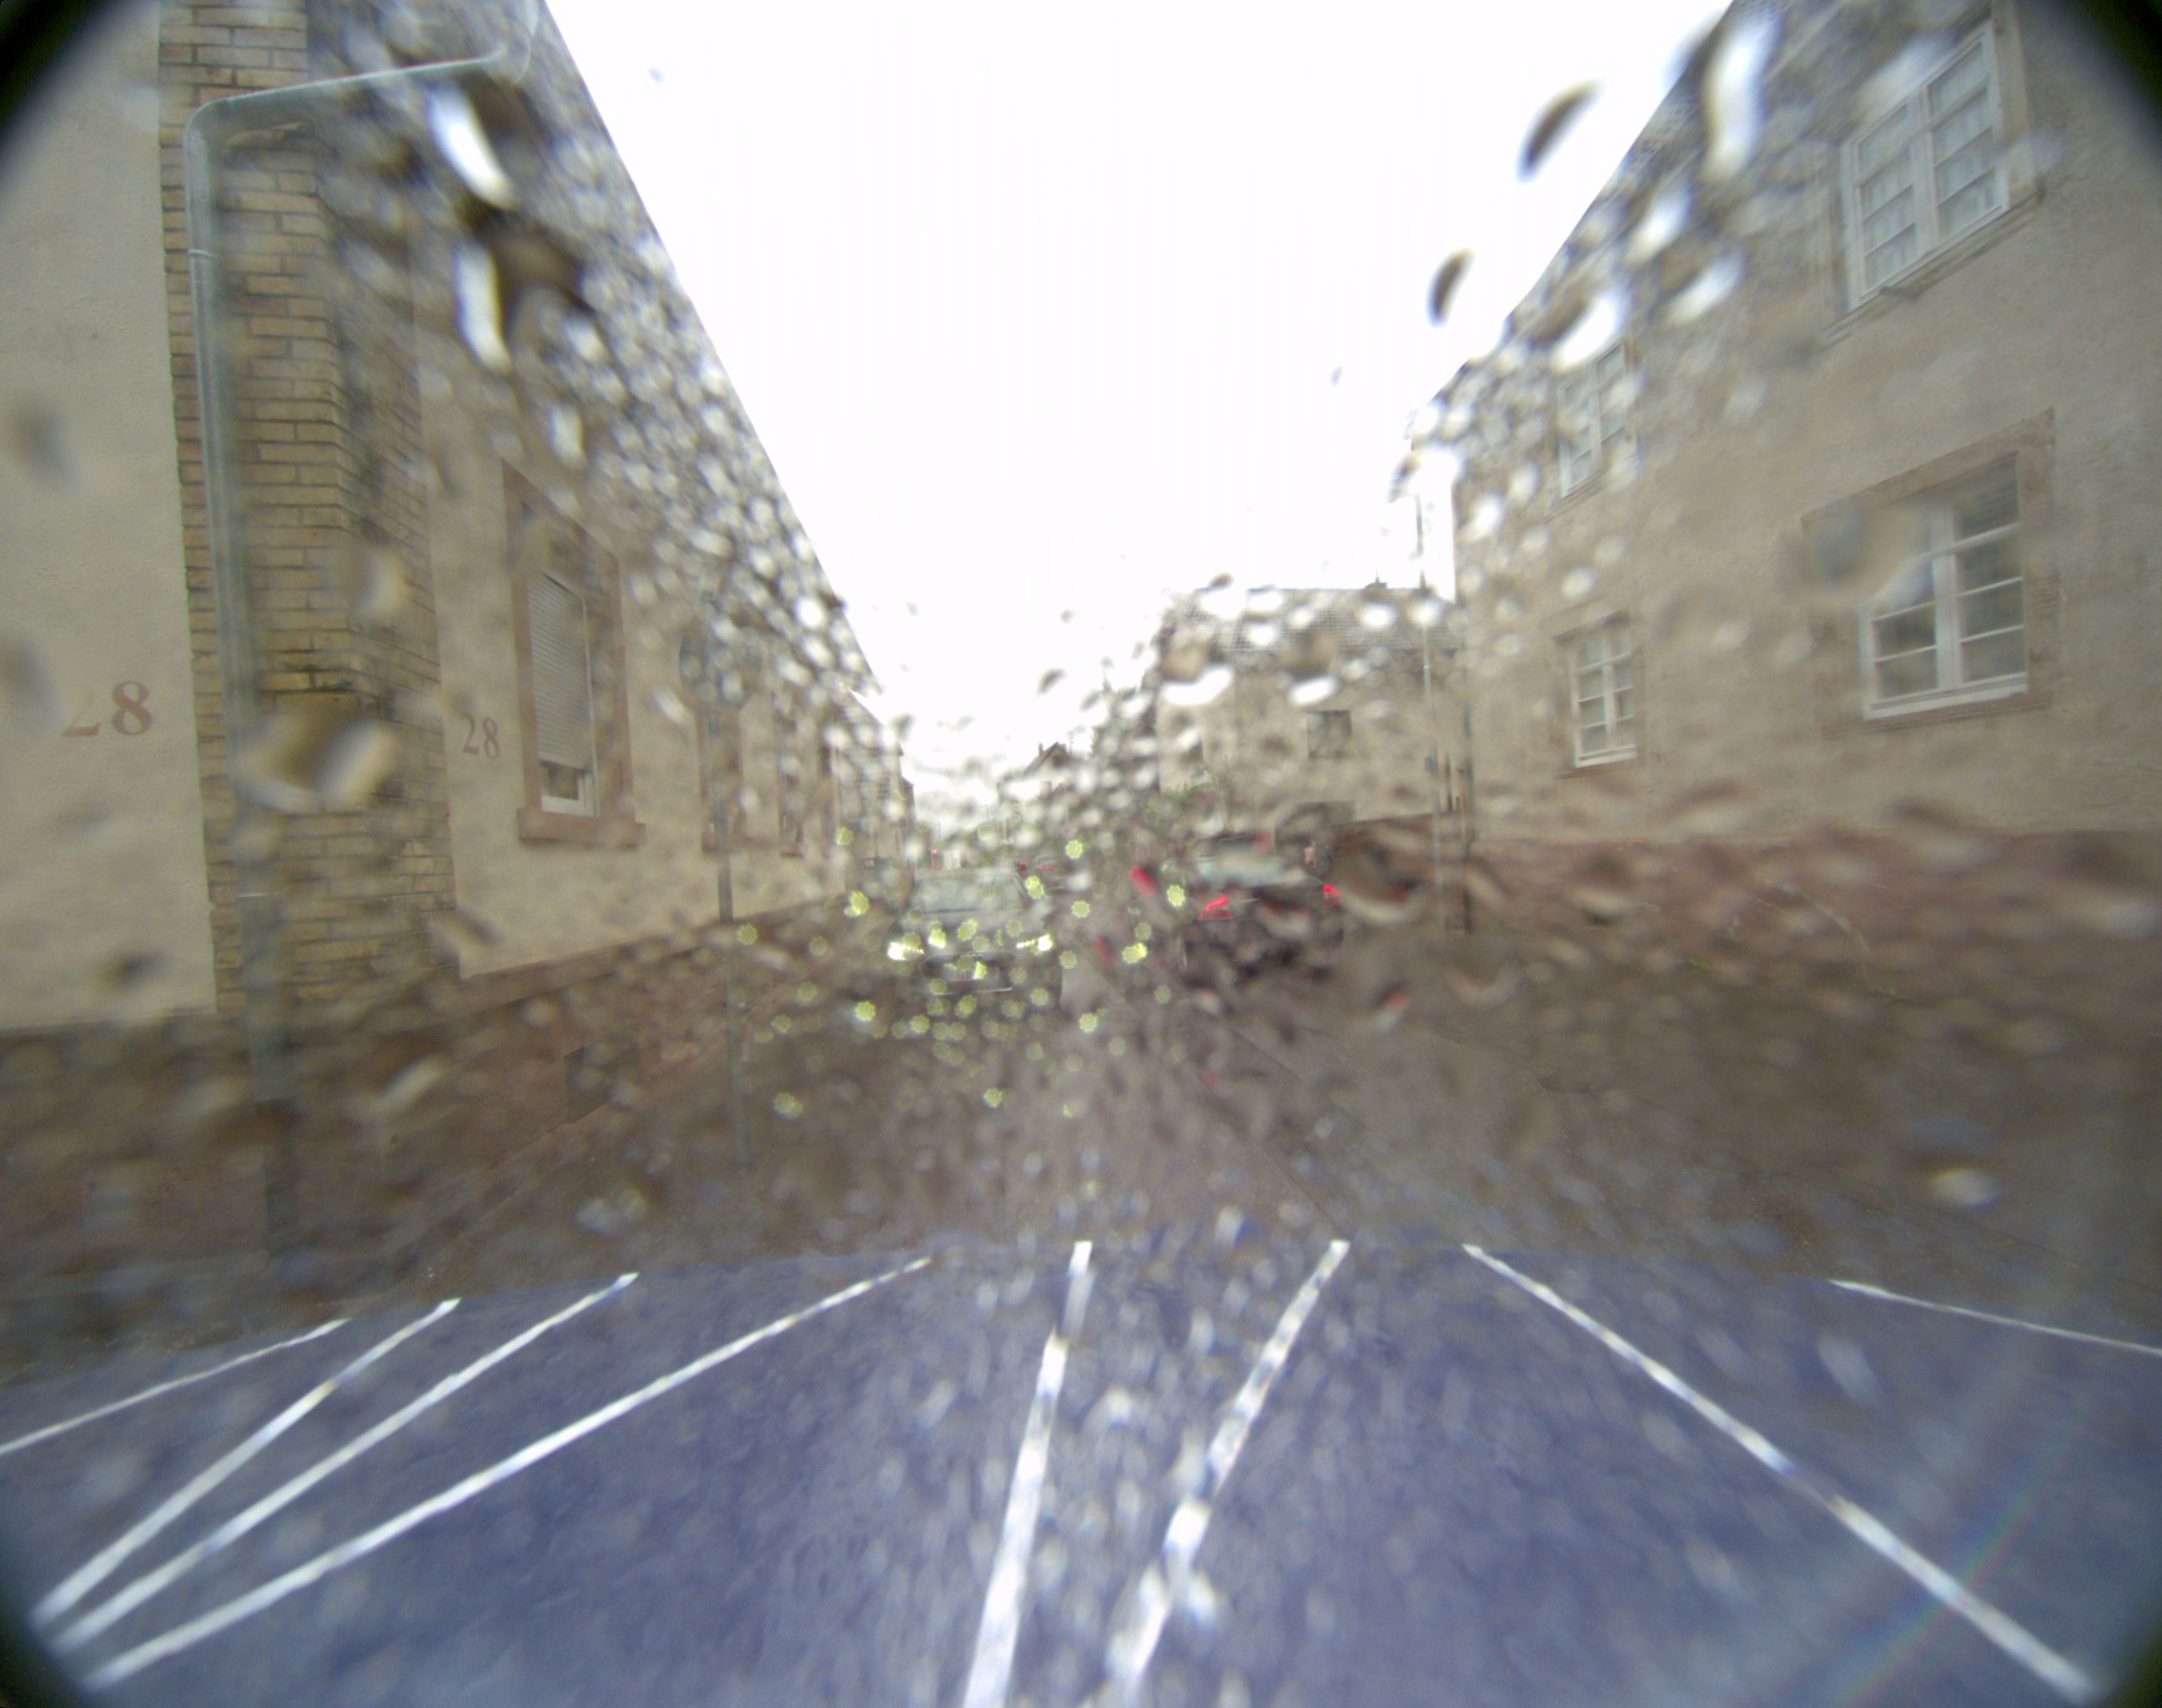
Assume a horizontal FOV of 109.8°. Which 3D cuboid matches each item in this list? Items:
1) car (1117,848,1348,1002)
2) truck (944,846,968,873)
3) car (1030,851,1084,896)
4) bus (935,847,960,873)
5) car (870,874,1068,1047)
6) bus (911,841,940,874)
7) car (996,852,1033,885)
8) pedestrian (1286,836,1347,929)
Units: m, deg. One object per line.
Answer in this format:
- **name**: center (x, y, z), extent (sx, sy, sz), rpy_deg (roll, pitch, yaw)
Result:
- **car**: center (1.705, 0.731, 10.117), extent (1.701, 1.500, 4.338), rpy_deg (-4, 1, -6)
- **truck**: center (-12.248, 0.481, 74.203), extent (2.000, 2.490, 5.644), rpy_deg (-2, 1, -11)
- **car**: center (-1.007, 0.717, 29.898), extent (1.627, 1.502, 3.790), rpy_deg (-6, 1, -8)
- **bus**: center (-17.909, 0.759, 101.331), extent (2.670, 3.213, 12.178), rpy_deg (-2, 1, -12)
- **car**: center (-1.328, 1.015, 8.980), extent (1.740, 1.363, 4.098), rpy_deg (-2, 0, -9)
- **bus**: center (-16.856, 0.337, 82.230), extent (2.670, 3.213, 12.178), rpy_deg (-2, 1, -12)
- **car**: center (-3.921, 0.809, 44.294), extent (1.786, 1.655, 4.422), rpy_deg (-5, 2, -8)
- **pedestrian**: center (4.111, 0.486, 13.308), extent (0.574, 1.529, 0.832), rpy_deg (-5, 1, -12)
